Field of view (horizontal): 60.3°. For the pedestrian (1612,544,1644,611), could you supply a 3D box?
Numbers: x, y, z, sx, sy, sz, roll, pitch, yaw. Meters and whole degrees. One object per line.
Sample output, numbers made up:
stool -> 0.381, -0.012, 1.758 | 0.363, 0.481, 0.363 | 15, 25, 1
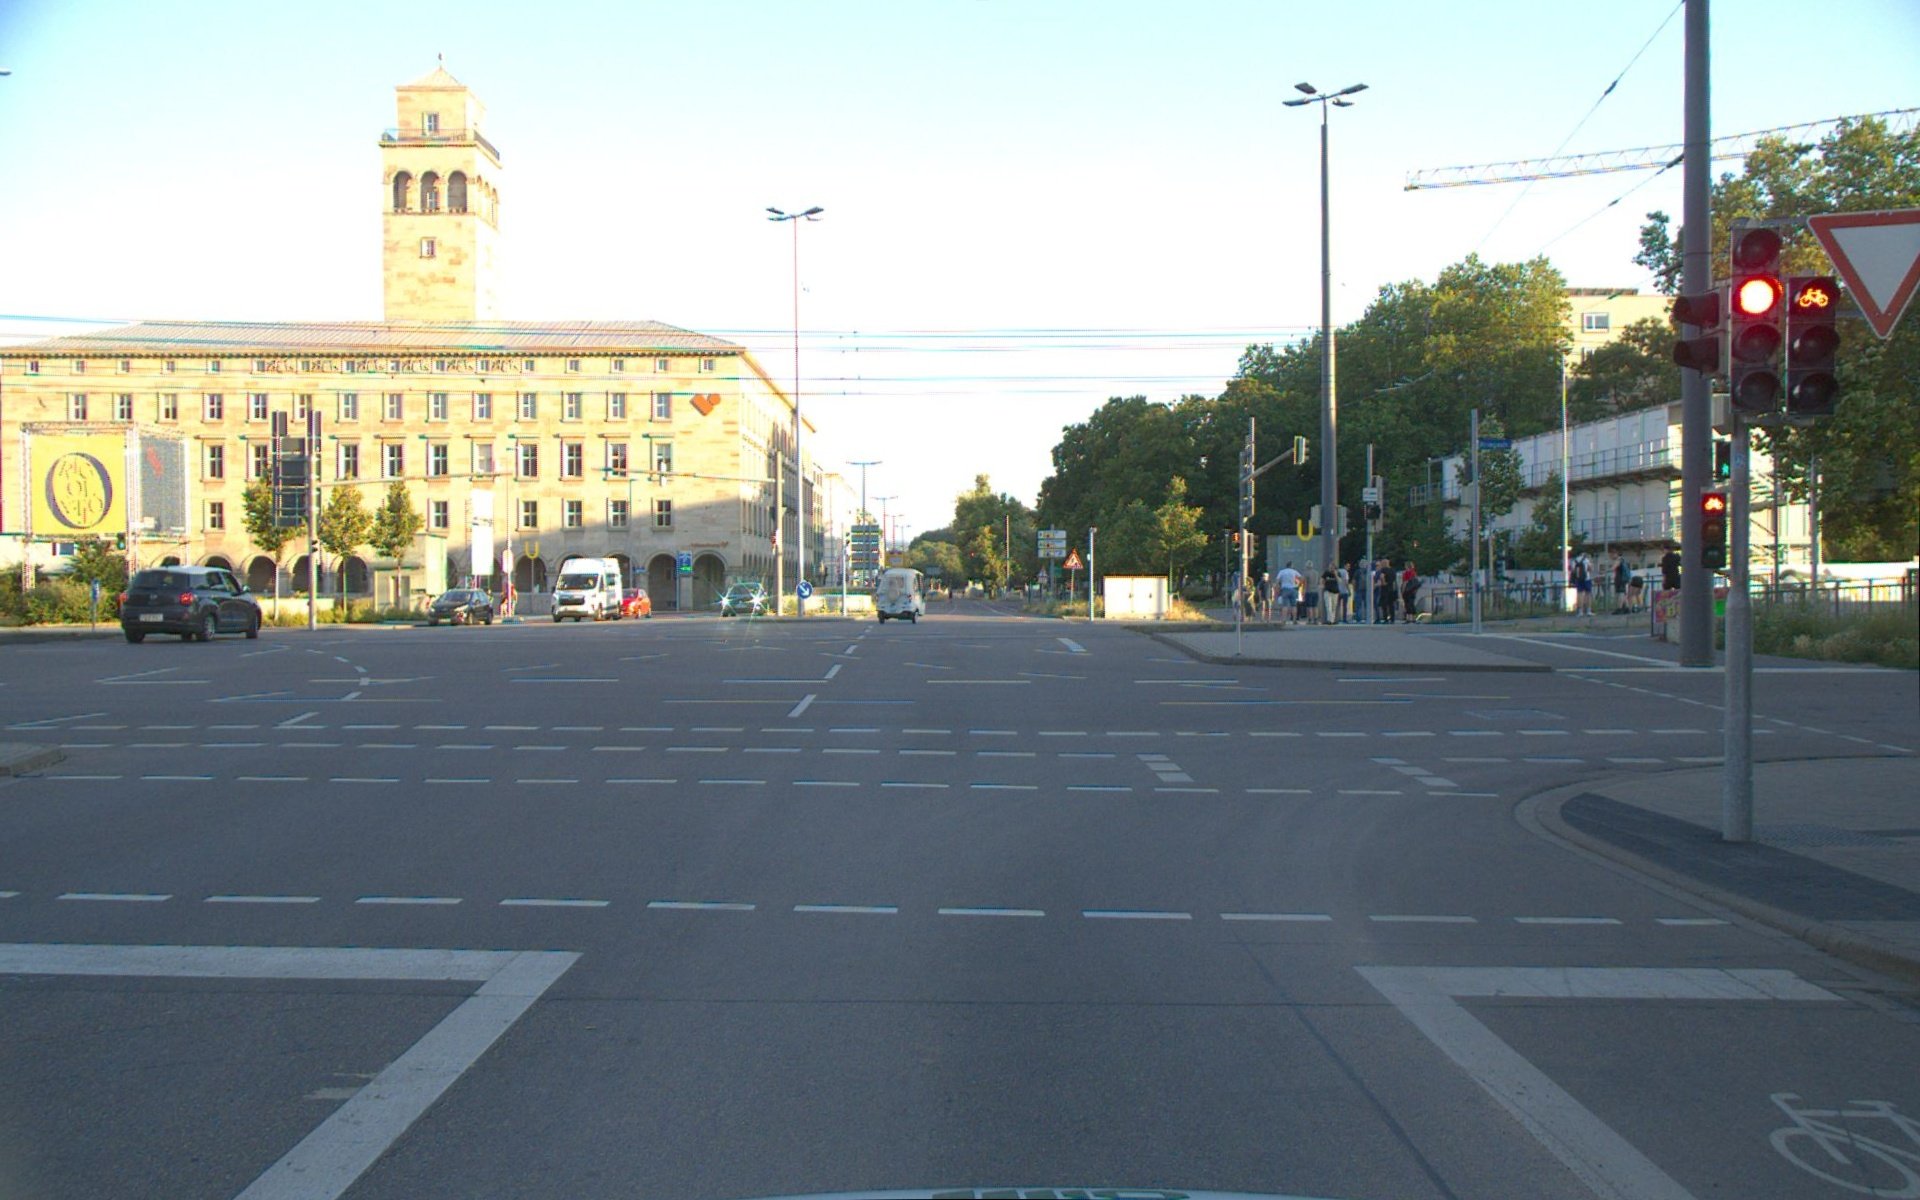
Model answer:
pedestrian -> 17.622, -0.593, 43.636 | 0.696, 1.755, 0.669 | 0, 0, 16

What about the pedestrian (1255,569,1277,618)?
pedestrian -> 11.250, -0.237, 60.775 | 0.665, 1.788, 0.902 | 0, 1, 20

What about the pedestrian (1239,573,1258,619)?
pedestrian -> 10.612, -0.142, 60.864 | 0.548, 1.683, 0.902 | 0, 1, 20

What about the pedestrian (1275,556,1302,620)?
pedestrian -> 9.130, -0.328, 45.972 | 0.695, 1.755, 0.669 | 0, 1, 14

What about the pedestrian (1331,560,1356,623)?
pedestrian -> 10.826, -0.238, 46.709 | 0.695, 1.755, 0.916 | 0, 1, 13

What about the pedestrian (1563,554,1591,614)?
pedestrian -> 16.800, -0.441, 45.023 | 0.559, 1.620, 0.536 | -1, 0, -1

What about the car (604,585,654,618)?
car -> -16.148, 0.048, 80.927 | 1.703, 1.513, 4.000 | -1, 1, -1

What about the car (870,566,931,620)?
car -> -1.960, -0.248, 55.068 | 1.451, 1.725, 2.977 | -1, 1, 10

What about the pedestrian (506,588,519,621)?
pedestrian -> -24.485, 0.231, 90.543 | 0.609, 1.774, 0.459 | 1, -1, -6

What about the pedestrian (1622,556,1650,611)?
pedestrian -> 18.083, -0.446, 44.275 | 0.662, 1.466, 0.714 | 0, 0, 21

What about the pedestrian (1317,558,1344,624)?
pedestrian -> 9.932, -0.254, 44.321 | 0.696, 1.755, 0.916 | 0, 1, 14

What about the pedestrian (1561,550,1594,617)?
pedestrian -> 16.334, -0.427, 43.770 | 0.655, 1.755, 0.710 | 0, 1, 35

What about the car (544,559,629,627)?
car -> -16.231, -0.345, 72.232 | 2.232, 2.824, 6.084 | -1, 1, 1

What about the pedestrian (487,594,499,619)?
pedestrian -> -25.380, 0.357, 89.836 | 0.496, 1.323, 0.700 | 1, -1, -6

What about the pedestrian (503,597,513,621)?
pedestrian -> -24.429, 0.484, 89.369 | 0.412, 1.323, 0.459 | 1, -1, -6

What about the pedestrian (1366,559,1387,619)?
pedestrian -> 11.899, -0.316, 47.303 | 0.560, 1.708, 0.639 | 0, 1, 13

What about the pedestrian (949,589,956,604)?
pedestrian -> -0.886, -0.434, 194.649 | 0.888, 1.700, 1.306 | -1, 1, -2

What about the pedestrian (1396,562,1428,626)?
pedestrian -> 12.610, -0.163, 46.150 | 0.826, 1.764, 0.706 | 0, 1, 11

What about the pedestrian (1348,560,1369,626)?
pedestrian -> 11.050, -0.189, 45.835 | 0.560, 1.822, 0.639 | 0, 1, 13

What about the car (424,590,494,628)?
car -> -21.131, 0.343, 69.924 | 1.786, 1.492, 4.156 | -1, 1, -2

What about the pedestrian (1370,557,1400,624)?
pedestrian -> 11.785, -0.266, 45.849 | 0.788, 1.822, 0.801 | 0, 1, 13

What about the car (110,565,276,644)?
car -> -17.049, 0.069, 36.984 | 1.703, 1.632, 4.135 | -1, 1, 1

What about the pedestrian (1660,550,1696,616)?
pedestrian -> 19.214, -0.455, 44.260 | 0.696, 1.755, 0.669 | 0, 0, 5

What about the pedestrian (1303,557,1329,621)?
pedestrian -> 9.871, -0.315, 45.892 | 0.695, 1.755, 0.669 | 0, 1, 13

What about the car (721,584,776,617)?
car -> -9.242, -0.004, 72.486 | 1.785, 1.365, 4.001 | 0, 1, 1
